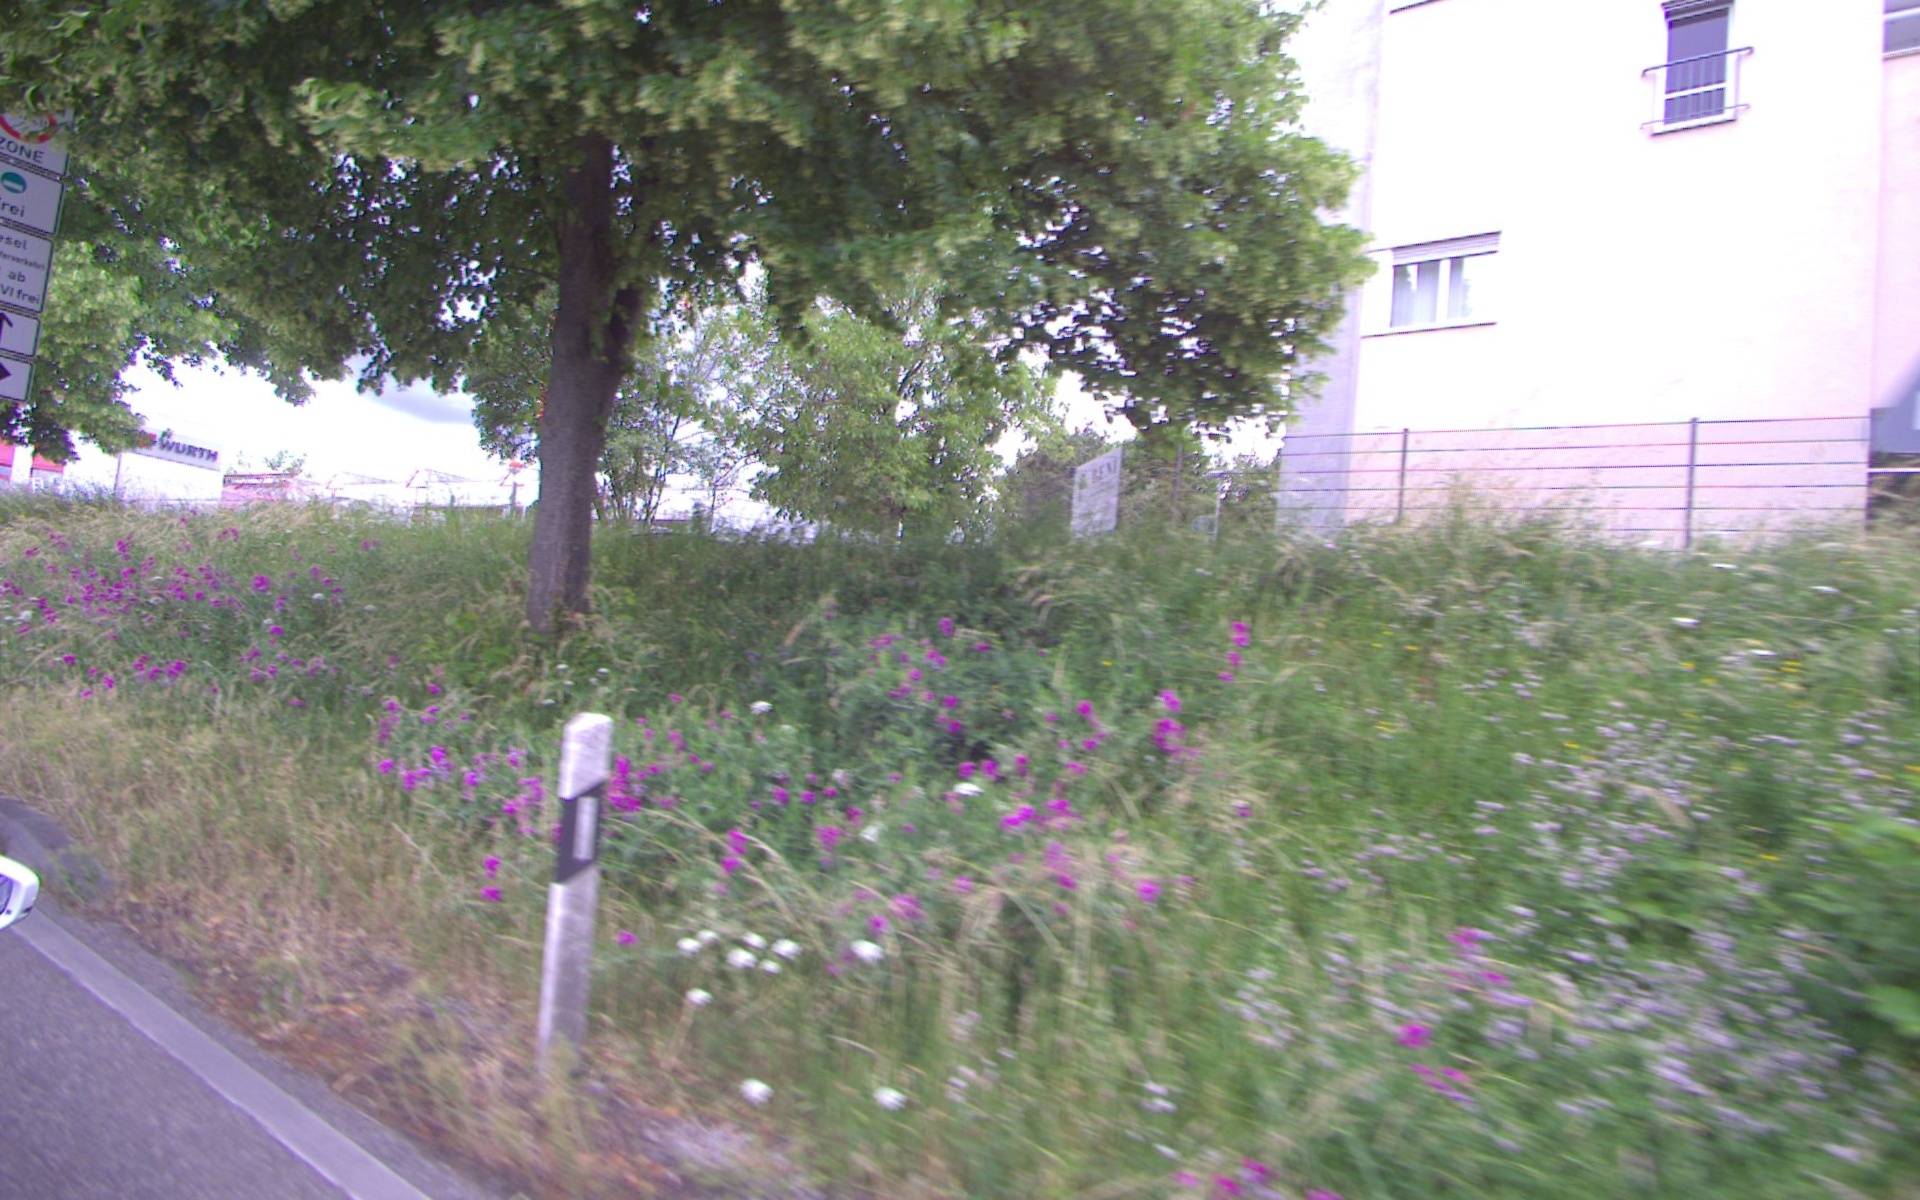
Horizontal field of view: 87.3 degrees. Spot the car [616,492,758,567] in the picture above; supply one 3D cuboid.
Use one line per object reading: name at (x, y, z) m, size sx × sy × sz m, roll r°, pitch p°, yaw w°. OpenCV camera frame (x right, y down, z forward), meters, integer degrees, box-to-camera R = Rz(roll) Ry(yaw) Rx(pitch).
car at (-8.323, -2.145, 30.989) m, size 1.727 × 1.498 × 3.934 m, roll 6°, pitch -4°, yaw 34°
